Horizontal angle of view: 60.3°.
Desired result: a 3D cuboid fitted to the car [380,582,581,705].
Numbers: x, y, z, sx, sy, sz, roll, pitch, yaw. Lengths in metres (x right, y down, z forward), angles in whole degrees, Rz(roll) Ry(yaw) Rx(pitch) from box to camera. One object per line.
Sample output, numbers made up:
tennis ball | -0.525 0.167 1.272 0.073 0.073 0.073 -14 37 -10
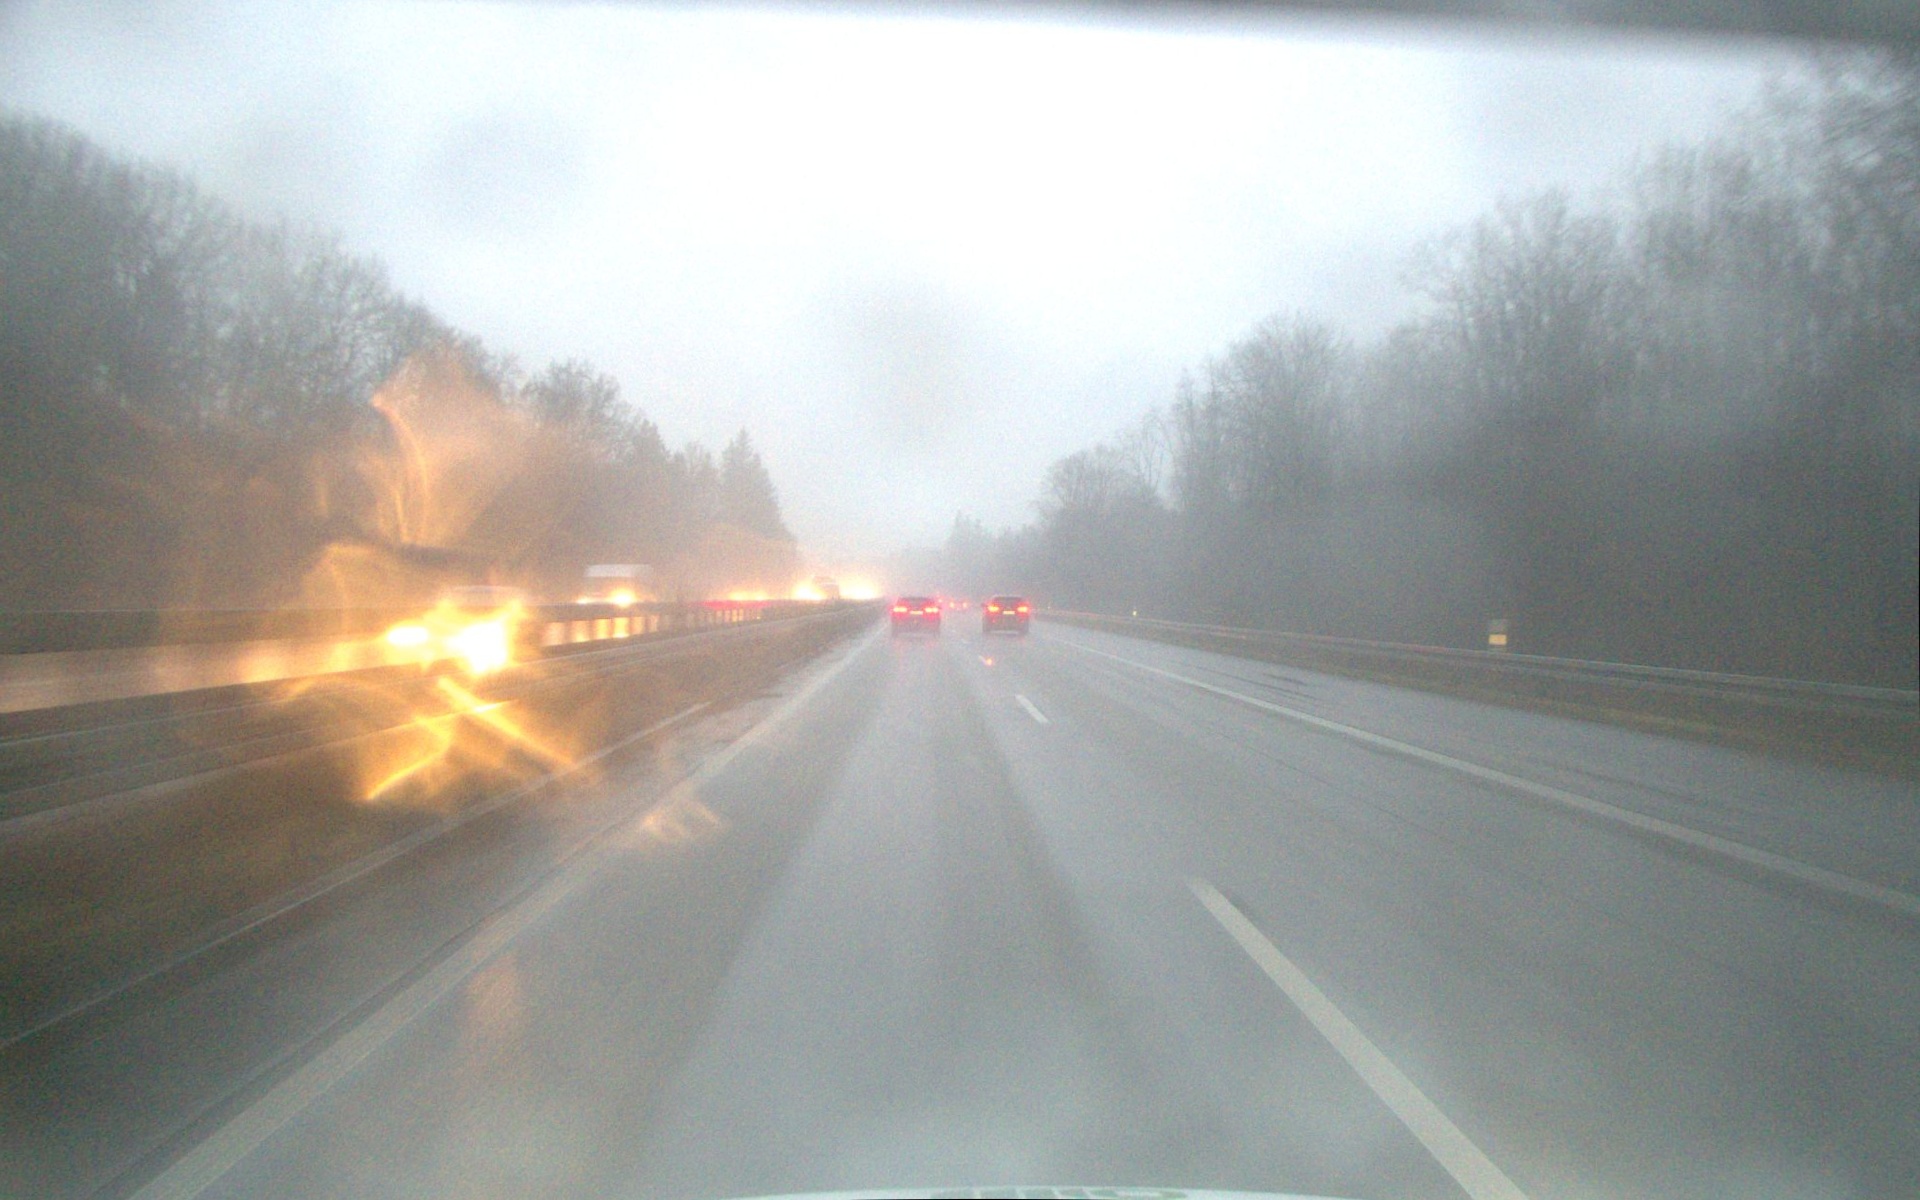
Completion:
car | -7.793 0.661 27.437 1.866 1.799 5.259 2 0 -2

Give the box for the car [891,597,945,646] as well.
car | -1.635 0.798 63.330 1.947 1.798 4.170 1 0 -3

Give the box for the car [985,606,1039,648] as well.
car | 2.203 1.153 71.228 2.029 1.727 4.459 1 0 -2

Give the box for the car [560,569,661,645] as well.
car | -12.477 0.253 59.478 2.426 2.567 6.267 1 0 -2
